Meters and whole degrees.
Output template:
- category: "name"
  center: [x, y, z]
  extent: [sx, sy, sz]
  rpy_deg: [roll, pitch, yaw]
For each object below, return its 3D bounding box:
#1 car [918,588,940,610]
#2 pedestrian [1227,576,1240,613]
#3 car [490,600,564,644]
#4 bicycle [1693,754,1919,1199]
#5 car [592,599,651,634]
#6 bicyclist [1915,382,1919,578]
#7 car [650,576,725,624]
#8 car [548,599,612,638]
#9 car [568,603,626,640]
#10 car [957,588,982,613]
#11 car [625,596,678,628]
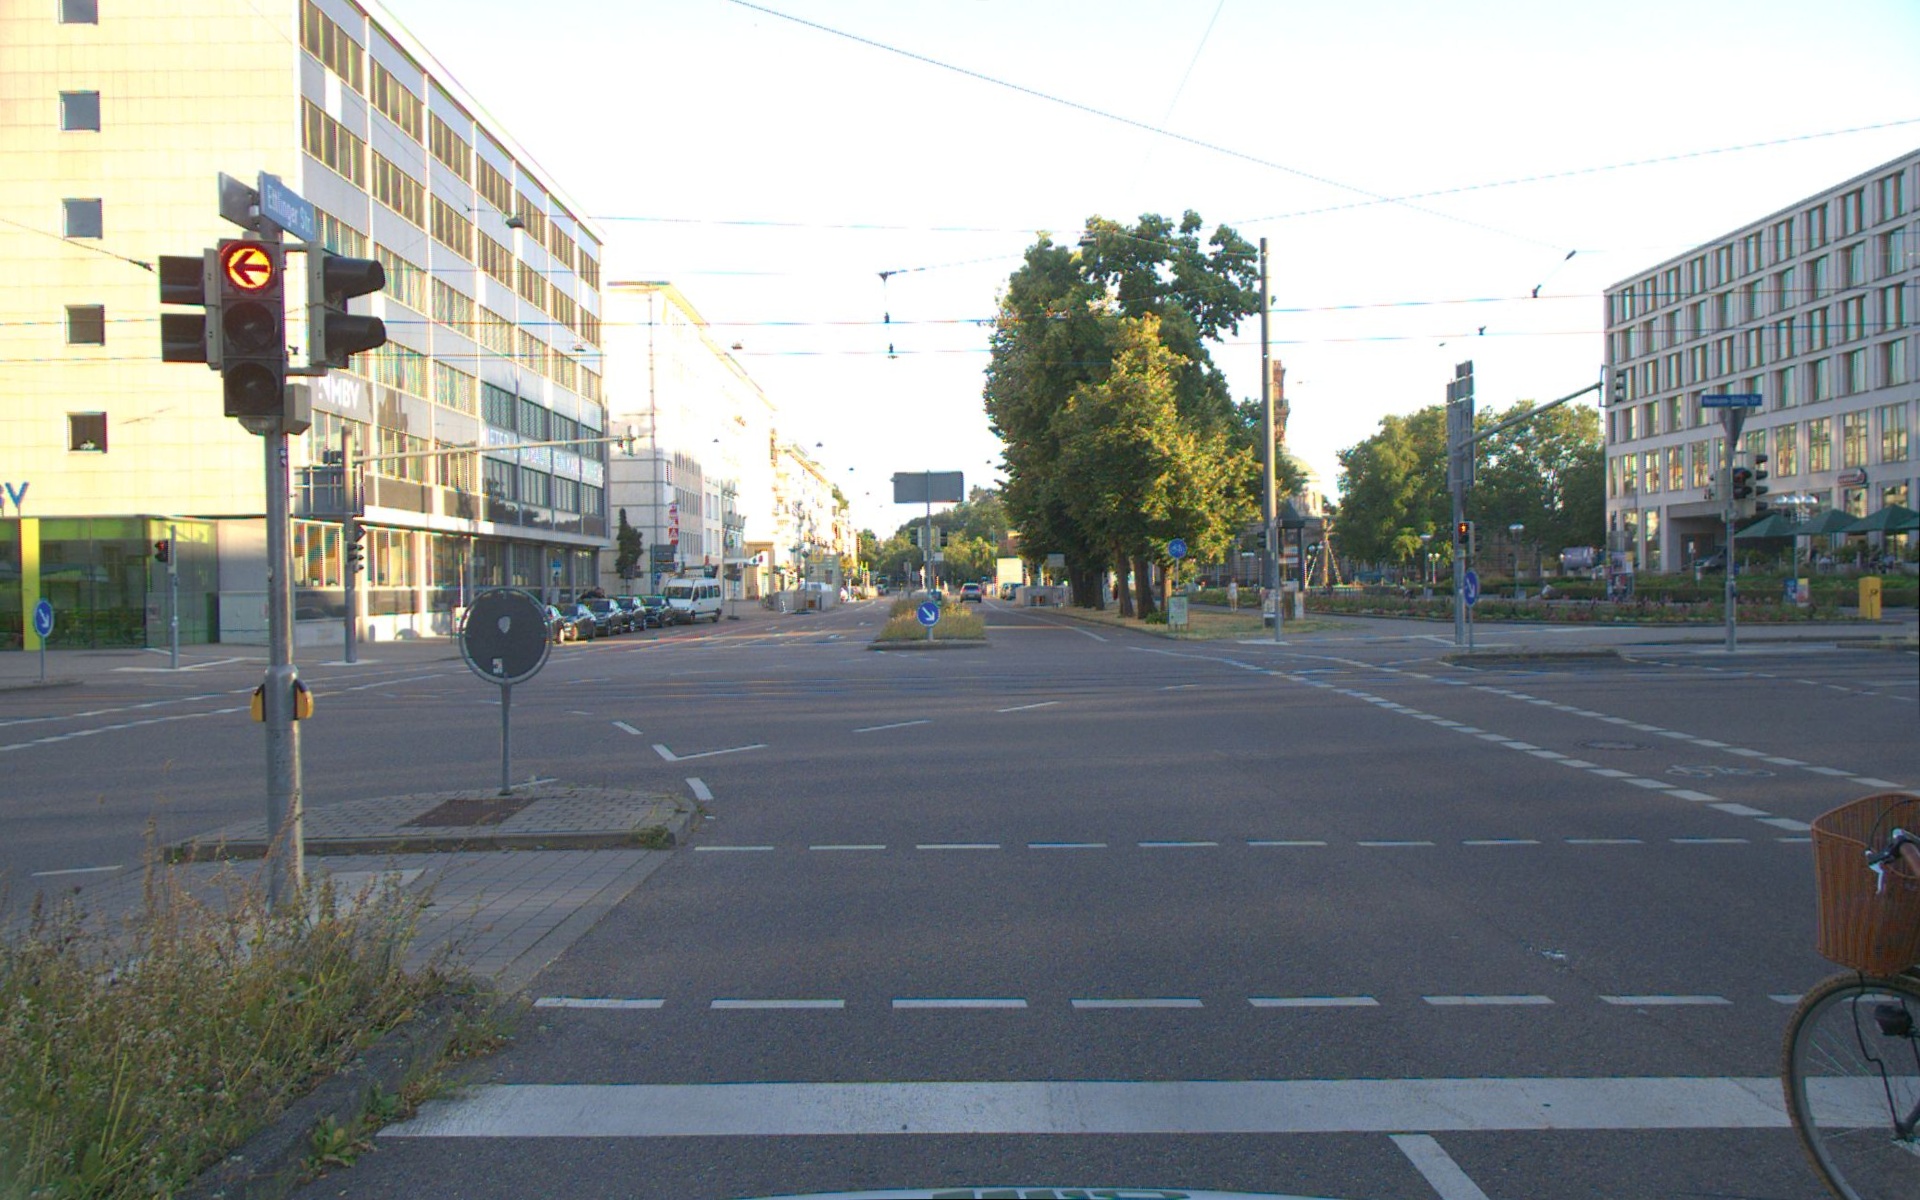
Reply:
- category: "car"
  center: [-2.809, -0.114, 149.200]
  extent: [1.953, 1.847, 3.999]
  rpy_deg: [-1, 0, -2]
- category: "pedestrian"
  center: [12.990, -0.264, 78.585]
  extent: [0.498, 1.697, 0.531]
  rpy_deg: [-1, 0, -2]
- category: "car"
  center: [-16.158, 0.857, 61.914]
  extent: [1.760, 1.501, 3.998]
  rpy_deg: [-1, -2, -1]
- category: "bicycle"
  center: [2.119, 0.932, 3.019]
  extent: [0.624, 1.087, 2.069]
  rpy_deg: [0, 0, -1]
- category: "car"
  center: [-16.045, 0.803, 78.487]
  extent: [1.758, 1.501, 4.001]
  rpy_deg: [-1, -2, 3]
- category: "bicyclist"
  center: [2.106, 0.452, 2.702]
  extent: [0.615, 1.723, 0.748]
  rpy_deg: [-1, 0, -1]
- category: "car"
  center: [-15.005, 0.046, 91.499]
  extent: [2.130, 2.427, 5.994]
  rpy_deg: [-2, -2, 11]
- category: "car"
  center: [-15.626, 0.782, 68.218]
  extent: [1.760, 1.501, 3.998]
  rpy_deg: [-1, -2, -1]
- category: "car"
  center: [-16.098, 0.986, 73.427]
  extent: [1.760, 1.501, 3.998]
  rpy_deg: [-1, -2, -1]
- category: "car"
  center: [0.761, 0.060, 140.796]
  extent: [1.953, 2.049, 3.999]
  rpy_deg: [-1, 0, -2]
- category: "car"
  center: [-15.798, 0.617, 84.892]
  extent: [1.759, 1.501, 4.001]
  rpy_deg: [-1, -2, 3]
